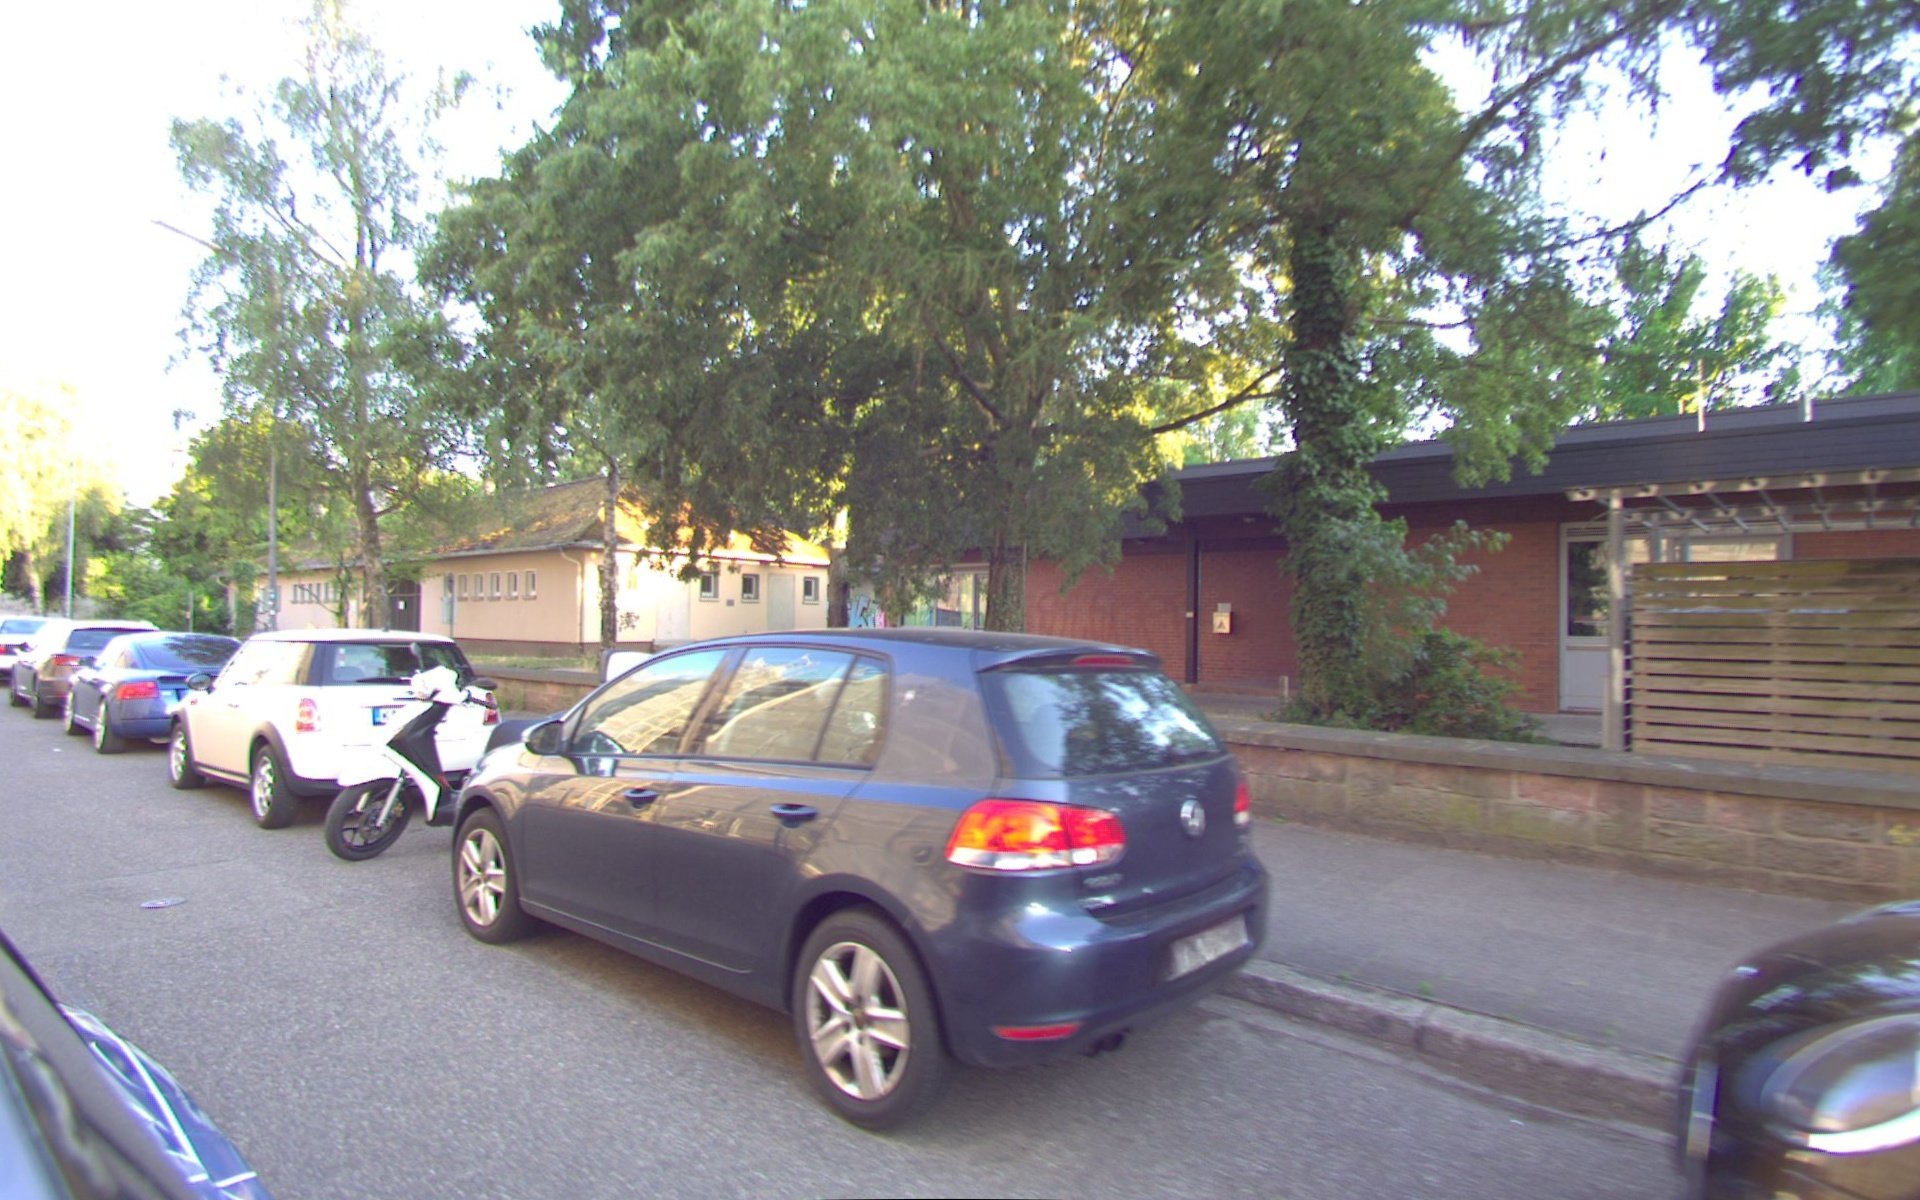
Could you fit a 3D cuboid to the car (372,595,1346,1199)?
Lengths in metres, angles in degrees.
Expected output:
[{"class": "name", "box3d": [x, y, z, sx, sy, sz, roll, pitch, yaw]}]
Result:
[{"class": "car", "box3d": [-0.793, 0.803, 4.455, 4.357, 1.507, 1.698, -1, -3, 40]}]

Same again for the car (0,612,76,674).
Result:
[{"class": "car", "box3d": [-24.043, 1.051, 25.509, 3.995, 1.464, 1.974, -1, -2, 38]}]

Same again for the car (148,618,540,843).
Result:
[{"class": "car", "box3d": [-5.233, 0.923, 8.411, 3.801, 1.442, 1.584, -1, -5, 40]}]

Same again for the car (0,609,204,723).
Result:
[{"class": "car", "box3d": [-13.784, 0.959, 16.065, 4.756, 1.549, 1.840, -1, -3, 41]}]

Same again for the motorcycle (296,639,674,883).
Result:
[{"class": "motorcycle", "box3d": [-3.078, 0.938, 6.658, 2.135, 1.313, 0.882, 0, -1, -35]}]

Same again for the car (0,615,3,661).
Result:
[{"class": "car", "box3d": [-33.150, 1.230, 33.362, 4.287, 1.464, 1.972, -1, -2, 42]}]

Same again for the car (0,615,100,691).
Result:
[{"class": "car", "box3d": [-19.891, 1.071, 21.448, 4.746, 1.457, 1.764, -1, -4, 41]}]

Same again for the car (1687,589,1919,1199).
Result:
[{"class": "car", "box3d": [3.182, 0.754, 0.879, 3.992, 1.489, 1.619, -1, -3, 42]}]

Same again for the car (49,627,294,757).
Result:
[{"class": "car", "box3d": [-9.841, 1.029, 12.508, 4.153, 1.323, 1.641, -1, -3, 42]}]

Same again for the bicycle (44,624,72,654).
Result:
[{"class": "bicycle", "box3d": [-34.929, 1.496, 39.170, 1.953, 1.126, 0.538, -1, -1, 40]}]
